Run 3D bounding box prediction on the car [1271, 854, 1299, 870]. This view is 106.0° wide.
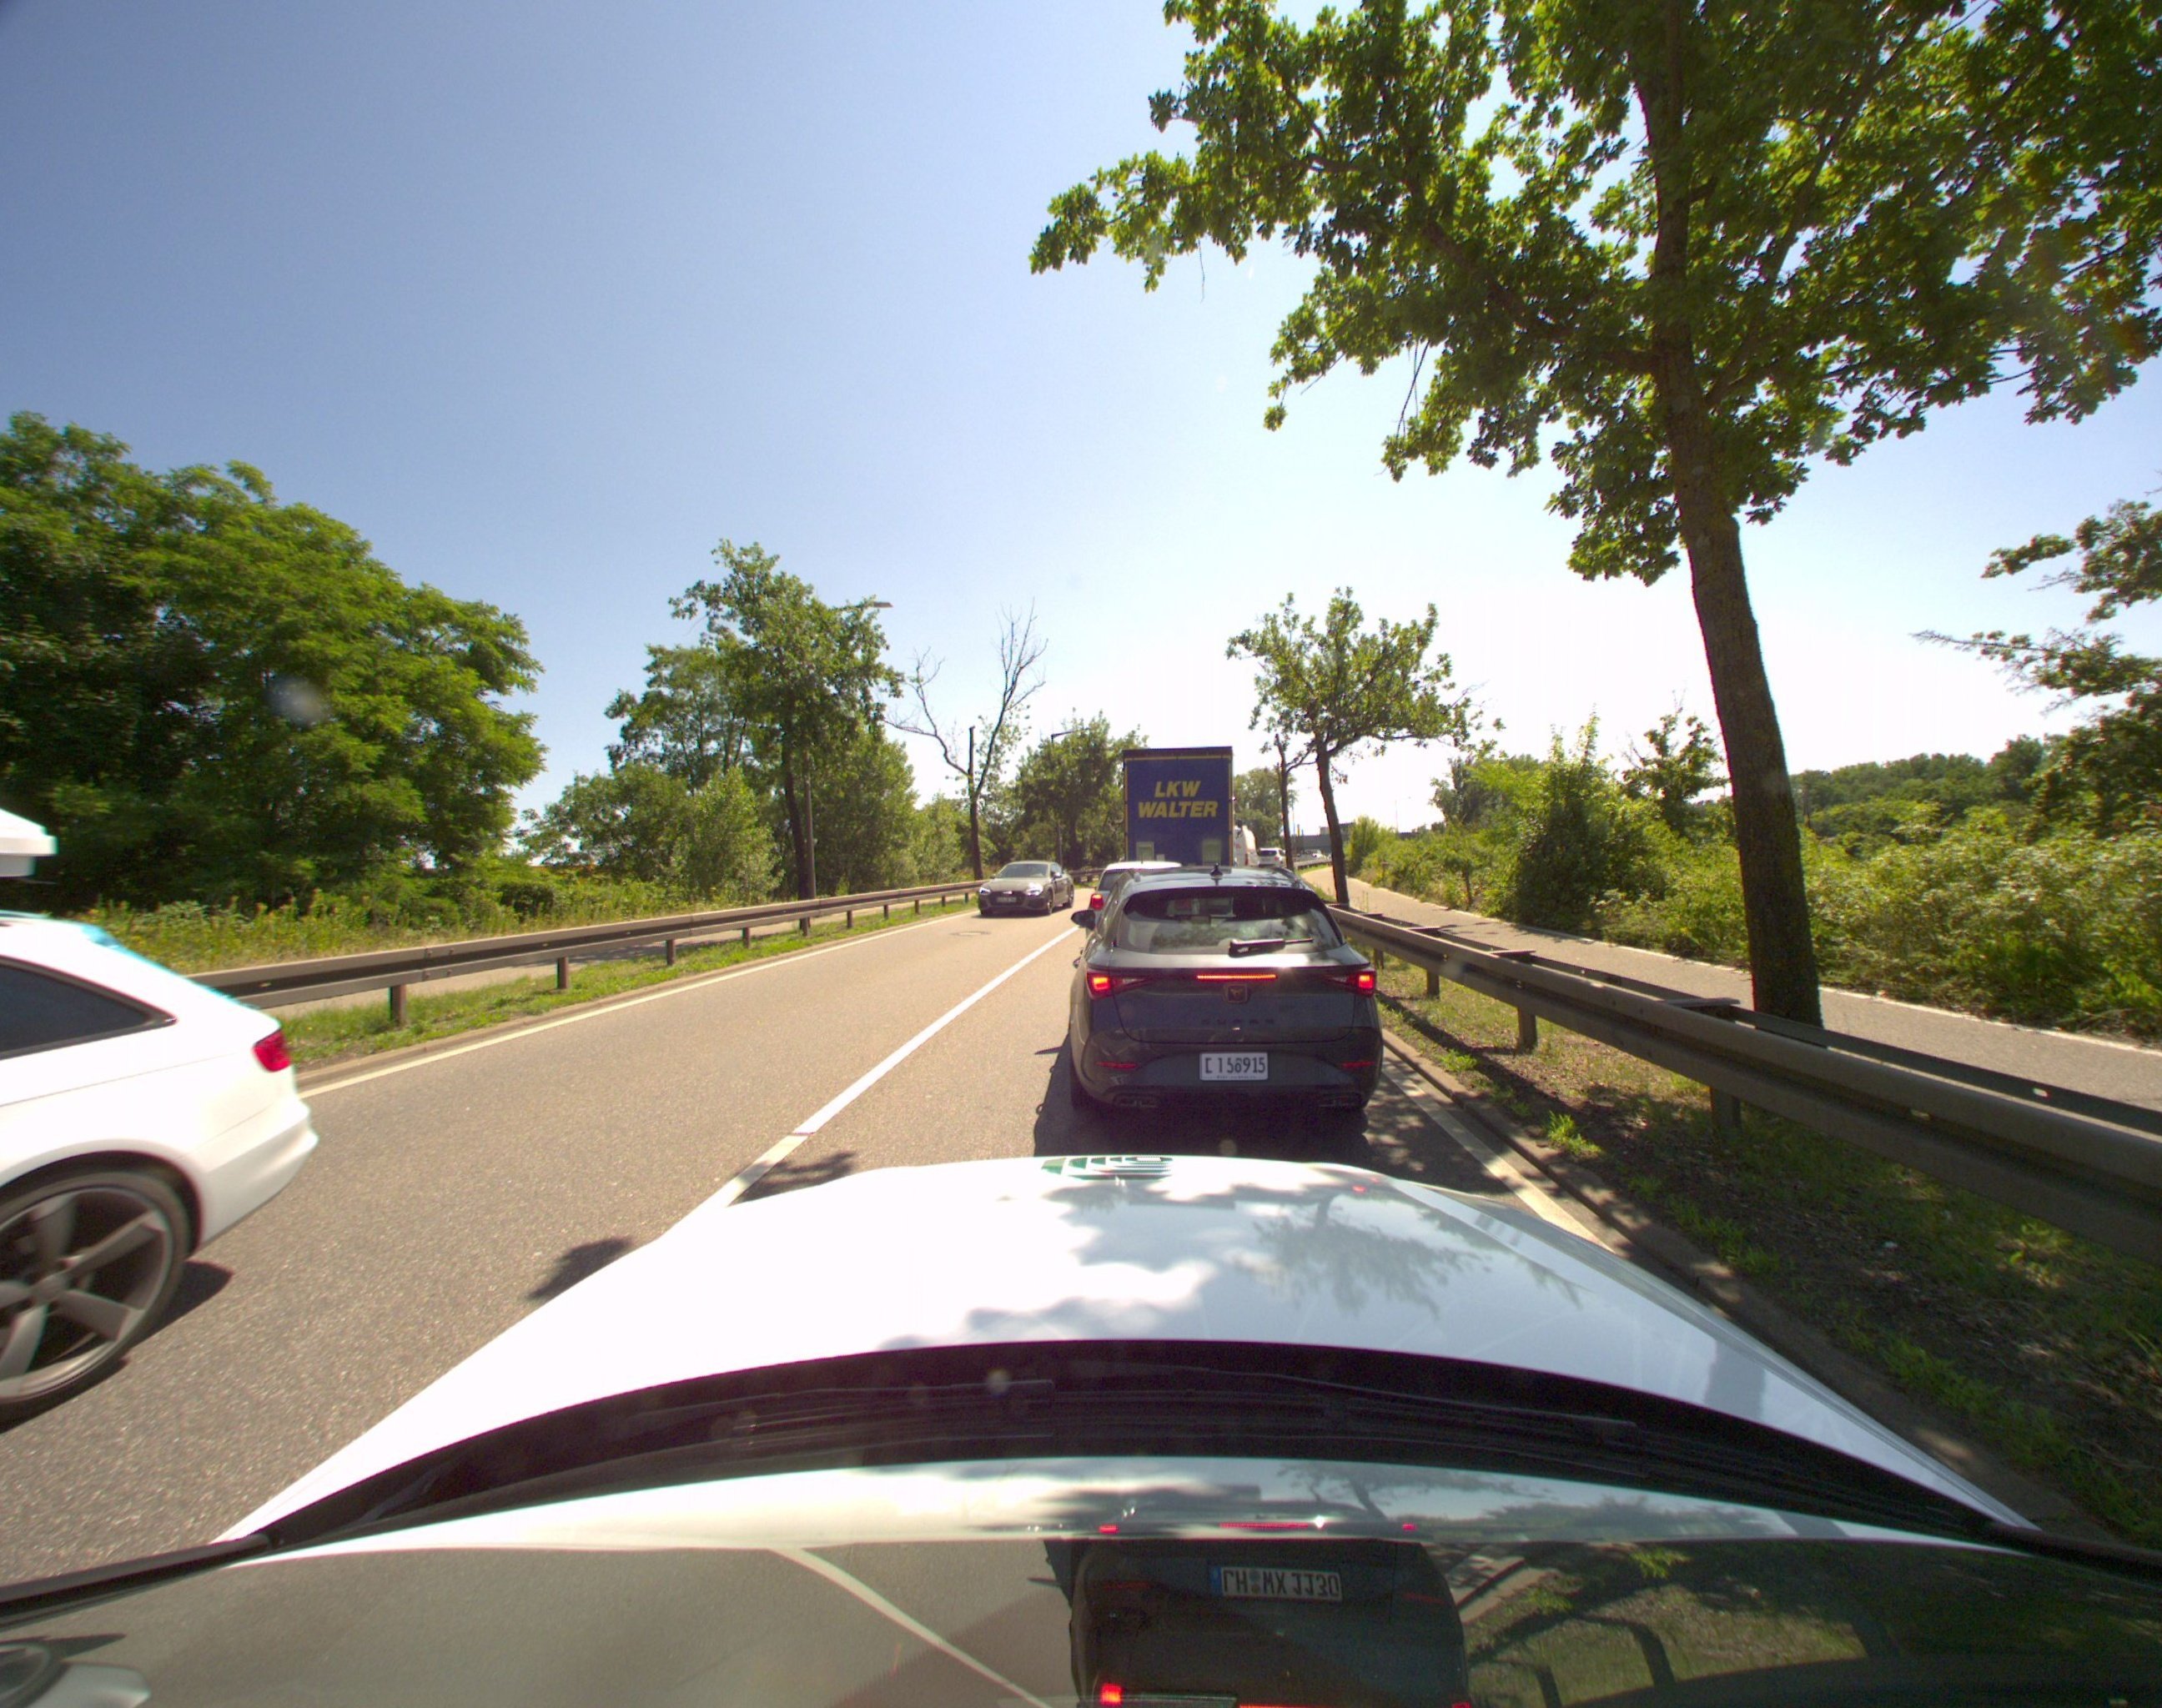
[{"bbox_3d":[18.802,0.732,74.927,1.841,1.396,4.430,-1,0,23],"label":"car"}]

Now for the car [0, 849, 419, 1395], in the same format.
[{"bbox_3d":[-3.765,0.704,1.194,1.812,1.421,4.468,-1,0,2],"label":"car"}]

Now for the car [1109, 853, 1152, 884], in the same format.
[{"bbox_3d":[2.478,0.695,40.114,1.660,1.466,3.831,-1,0,11],"label":"car"}]

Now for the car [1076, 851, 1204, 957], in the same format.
[{"bbox_3d":[0.968,0.721,13.625,1.801,1.508,4.004,-1,0,4],"label":"car"}]

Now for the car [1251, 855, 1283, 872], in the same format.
[{"bbox_3d":[15.674,0.787,68.358,1.841,1.396,4.430,-1,0,23],"label":"car"}]

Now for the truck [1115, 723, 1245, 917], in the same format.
[{"bbox_3d":[3.746,-0.755,27.127,2.931,4.449,16.845,-1,0,10],"label":"truck"}]

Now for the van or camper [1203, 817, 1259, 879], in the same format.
[{"bbox_3d":[7.927,-0.272,42.568,2.449,2.998,6.109,-1,0,14],"label":"van or camper"}]

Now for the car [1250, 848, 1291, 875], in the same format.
[{"bbox_3d":[12.661,0.453,54.191,1.976,1.712,4.644,-1,0,21],"label":"car"}]

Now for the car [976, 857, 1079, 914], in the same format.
[{"bbox_3d":[-1.341,0.802,22.432,1.748,1.396,4.419,-1,0,11],"label":"car"}]

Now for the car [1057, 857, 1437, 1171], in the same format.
[{"bbox_3d":[0.840,0.752,5.708,1.737,1.432,3.882,-1,0,2],"label":"car"}]

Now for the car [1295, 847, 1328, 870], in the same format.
[{"bbox_3d":[19.141,0.367,67.439,1.976,1.808,4.873,-1,0,24],"label":"car"}]
